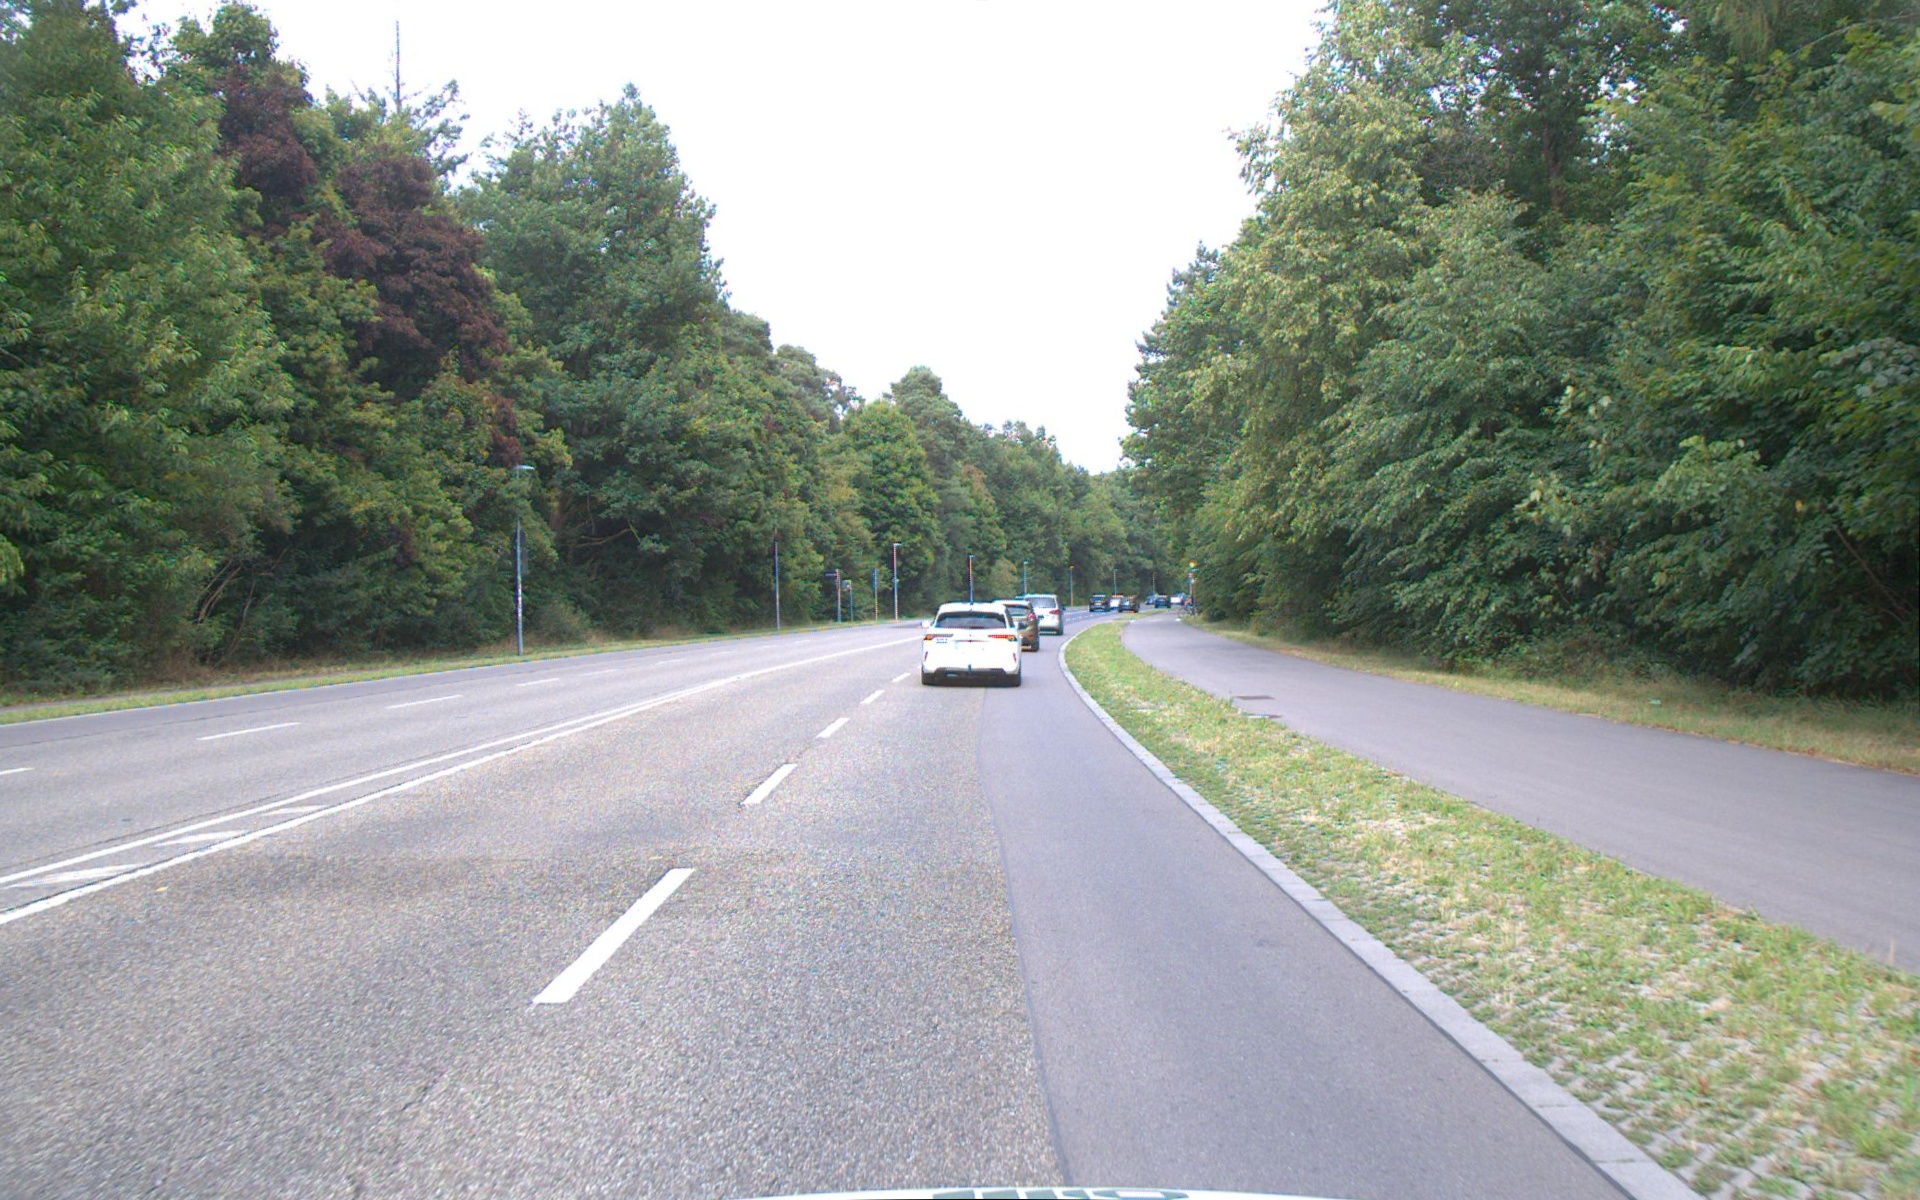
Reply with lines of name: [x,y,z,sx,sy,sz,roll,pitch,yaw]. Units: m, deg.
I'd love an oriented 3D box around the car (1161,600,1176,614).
car: [31.090,1.050,246.655,1.848,1.847,4.003,2,-1,11]

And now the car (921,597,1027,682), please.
car: [0.249,0.686,30.168,1.798,1.435,4.490,0,-1,0]

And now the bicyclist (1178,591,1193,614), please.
bicyclist: [15.060,0.156,110.473,0.880,1.496,0.711,0,-1,20]

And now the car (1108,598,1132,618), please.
car: [15.505,0.775,159.971,1.951,1.814,4.003,2,-1,10]

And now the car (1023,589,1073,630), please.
car: [3.772,0.429,70.478,1.951,1.635,4.002,2,-1,5]

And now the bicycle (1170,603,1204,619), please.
bicycle: [15.176,0.742,110.441,2.129,1.011,0.711,0,0,20]

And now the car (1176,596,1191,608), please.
car: [31.716,0.239,234.483,1.951,1.736,4.003,0,0,11]

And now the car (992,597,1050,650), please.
car: [1.817,0.683,48.663,1.601,1.445,4.001,2,-1,3]

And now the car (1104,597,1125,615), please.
car: [16.943,0.643,181.702,1.951,1.814,4.003,2,-1,10]

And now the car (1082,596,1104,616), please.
car: [13.236,0.595,164.481,1.951,1.814,4.003,2,-1,8]

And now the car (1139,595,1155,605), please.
car: [27.720,0.031,244.818,1.833,1.456,4.003,0,0,13]

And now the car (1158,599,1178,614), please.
car: [25.842,0.823,204.989,1.951,1.814,4.003,2,-1,14]
